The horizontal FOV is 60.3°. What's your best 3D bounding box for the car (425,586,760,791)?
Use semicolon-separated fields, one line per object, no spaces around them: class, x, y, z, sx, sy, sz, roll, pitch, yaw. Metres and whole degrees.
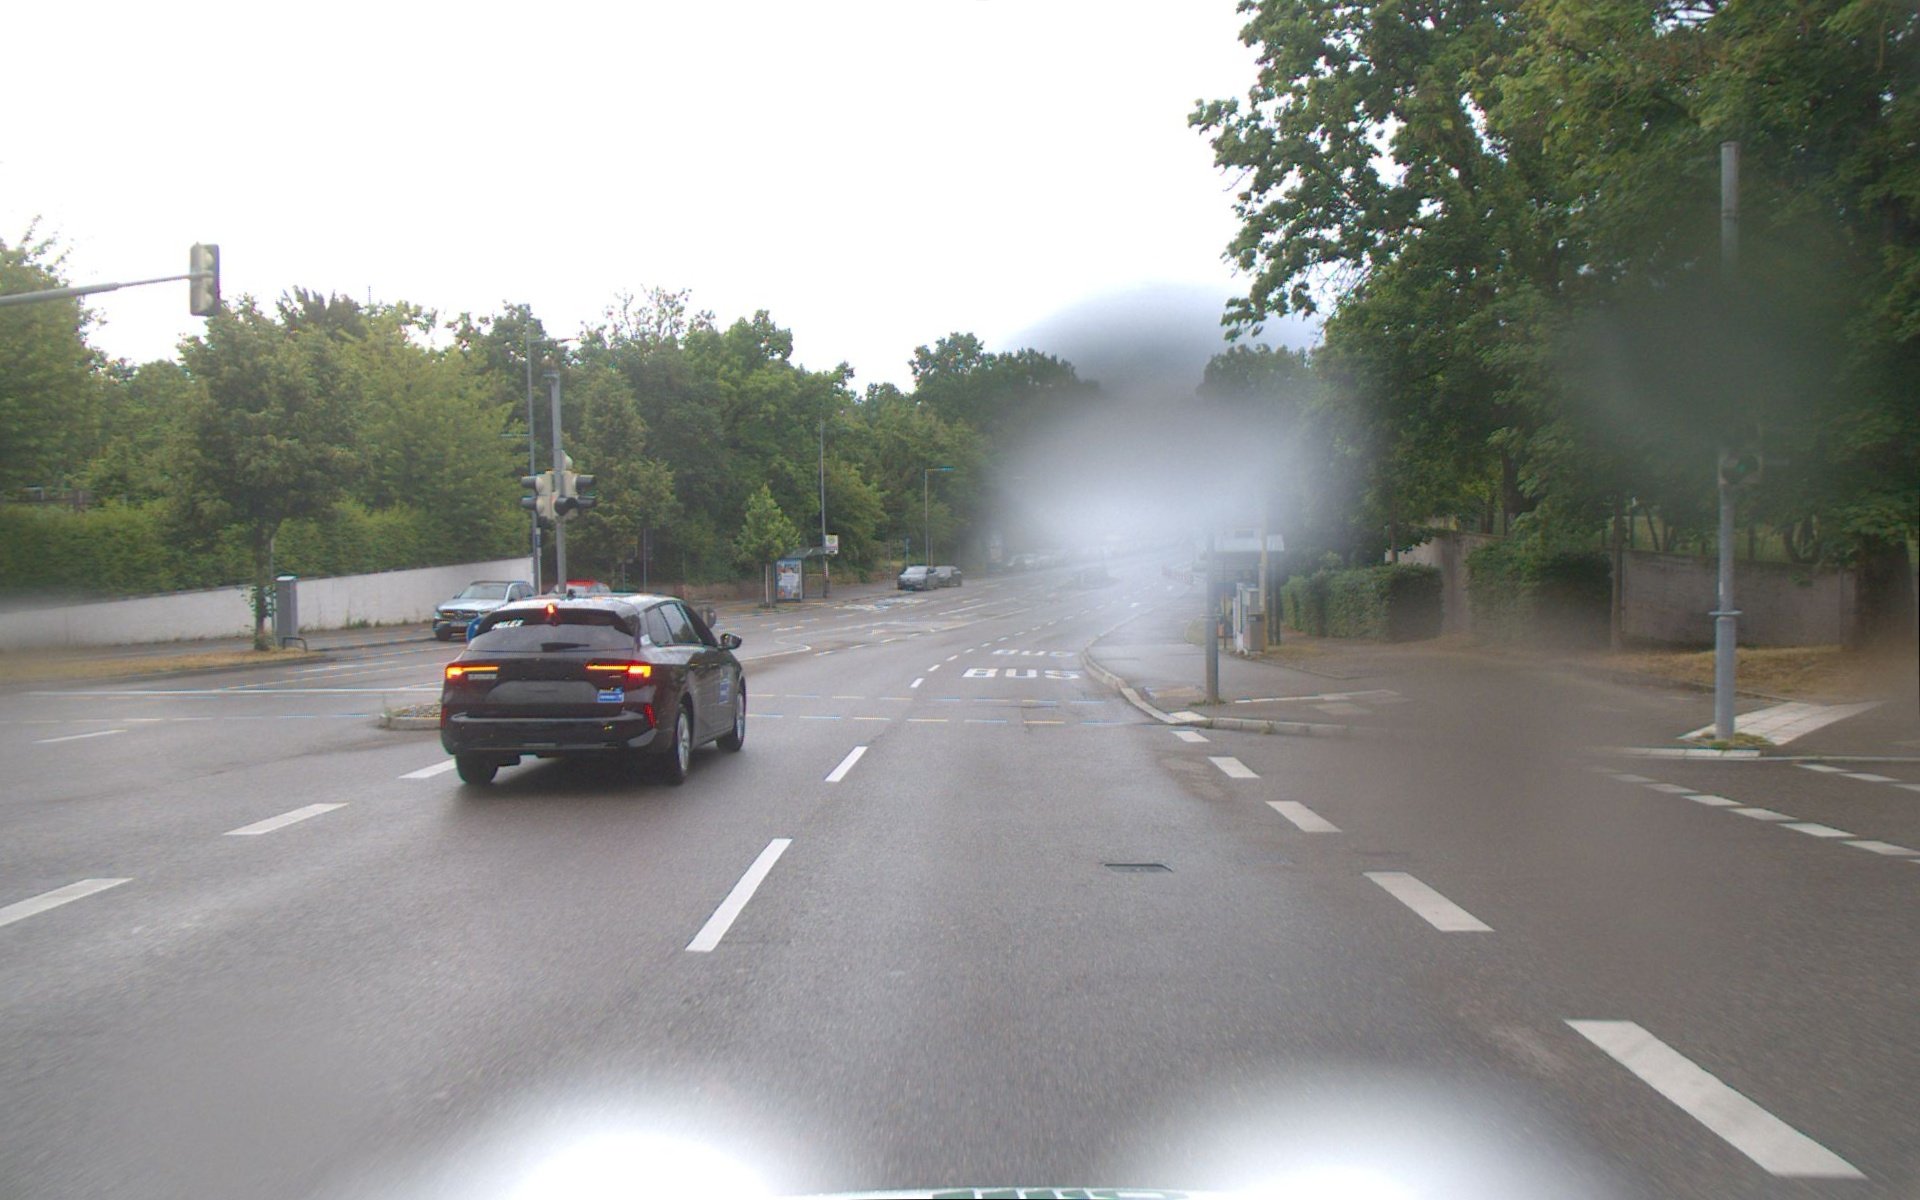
car;-2.880;0.612;14.003;1.762;1.455;4.520;0;0;1

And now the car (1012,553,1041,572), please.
car;5.993;-3.363;148.504;1.820;1.511;4.005;2;5;15

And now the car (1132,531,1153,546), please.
car;22.366;-7.500;202.666;1.915;1.681;4.005;2;5;15

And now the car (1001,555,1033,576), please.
car;4.932;-2.995;143.647;1.915;1.511;4.005;2;5;15

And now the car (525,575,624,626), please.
car;-12.784;-0.010;55.102;1.835;1.602;4.226;1;1;7

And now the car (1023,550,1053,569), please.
car;7.225;-3.734;153.417;1.915;1.511;4.005;2;5;15

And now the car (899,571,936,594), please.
car;-2.764;-1.128;109.201;1.676;1.486;3.754;0;0;11

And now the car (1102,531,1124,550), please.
car;17.503;-6.813;189.016;1.915;1.970;4.005;2;4;15

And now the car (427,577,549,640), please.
car;-13.582;0.209;47.834;1.813;1.668;4.097;2;1;9

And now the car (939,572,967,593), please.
car;-0.473;-1.205;115.124;1.386;1.449;3.125;0;0;10

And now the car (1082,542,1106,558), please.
car;14.483;-5.417;178.947;1.915;1.511;4.005;2;5;15

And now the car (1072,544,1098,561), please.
car;13.142;-5.023;173.727;1.915;1.511;4.005;2;5;15

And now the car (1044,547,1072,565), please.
car;9.623;-4.352;161.647;1.915;1.511;4.005;2;5;15

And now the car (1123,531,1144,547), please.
car;20.577;-7.221;196.195;1.915;1.681;4.005;2;5;15
